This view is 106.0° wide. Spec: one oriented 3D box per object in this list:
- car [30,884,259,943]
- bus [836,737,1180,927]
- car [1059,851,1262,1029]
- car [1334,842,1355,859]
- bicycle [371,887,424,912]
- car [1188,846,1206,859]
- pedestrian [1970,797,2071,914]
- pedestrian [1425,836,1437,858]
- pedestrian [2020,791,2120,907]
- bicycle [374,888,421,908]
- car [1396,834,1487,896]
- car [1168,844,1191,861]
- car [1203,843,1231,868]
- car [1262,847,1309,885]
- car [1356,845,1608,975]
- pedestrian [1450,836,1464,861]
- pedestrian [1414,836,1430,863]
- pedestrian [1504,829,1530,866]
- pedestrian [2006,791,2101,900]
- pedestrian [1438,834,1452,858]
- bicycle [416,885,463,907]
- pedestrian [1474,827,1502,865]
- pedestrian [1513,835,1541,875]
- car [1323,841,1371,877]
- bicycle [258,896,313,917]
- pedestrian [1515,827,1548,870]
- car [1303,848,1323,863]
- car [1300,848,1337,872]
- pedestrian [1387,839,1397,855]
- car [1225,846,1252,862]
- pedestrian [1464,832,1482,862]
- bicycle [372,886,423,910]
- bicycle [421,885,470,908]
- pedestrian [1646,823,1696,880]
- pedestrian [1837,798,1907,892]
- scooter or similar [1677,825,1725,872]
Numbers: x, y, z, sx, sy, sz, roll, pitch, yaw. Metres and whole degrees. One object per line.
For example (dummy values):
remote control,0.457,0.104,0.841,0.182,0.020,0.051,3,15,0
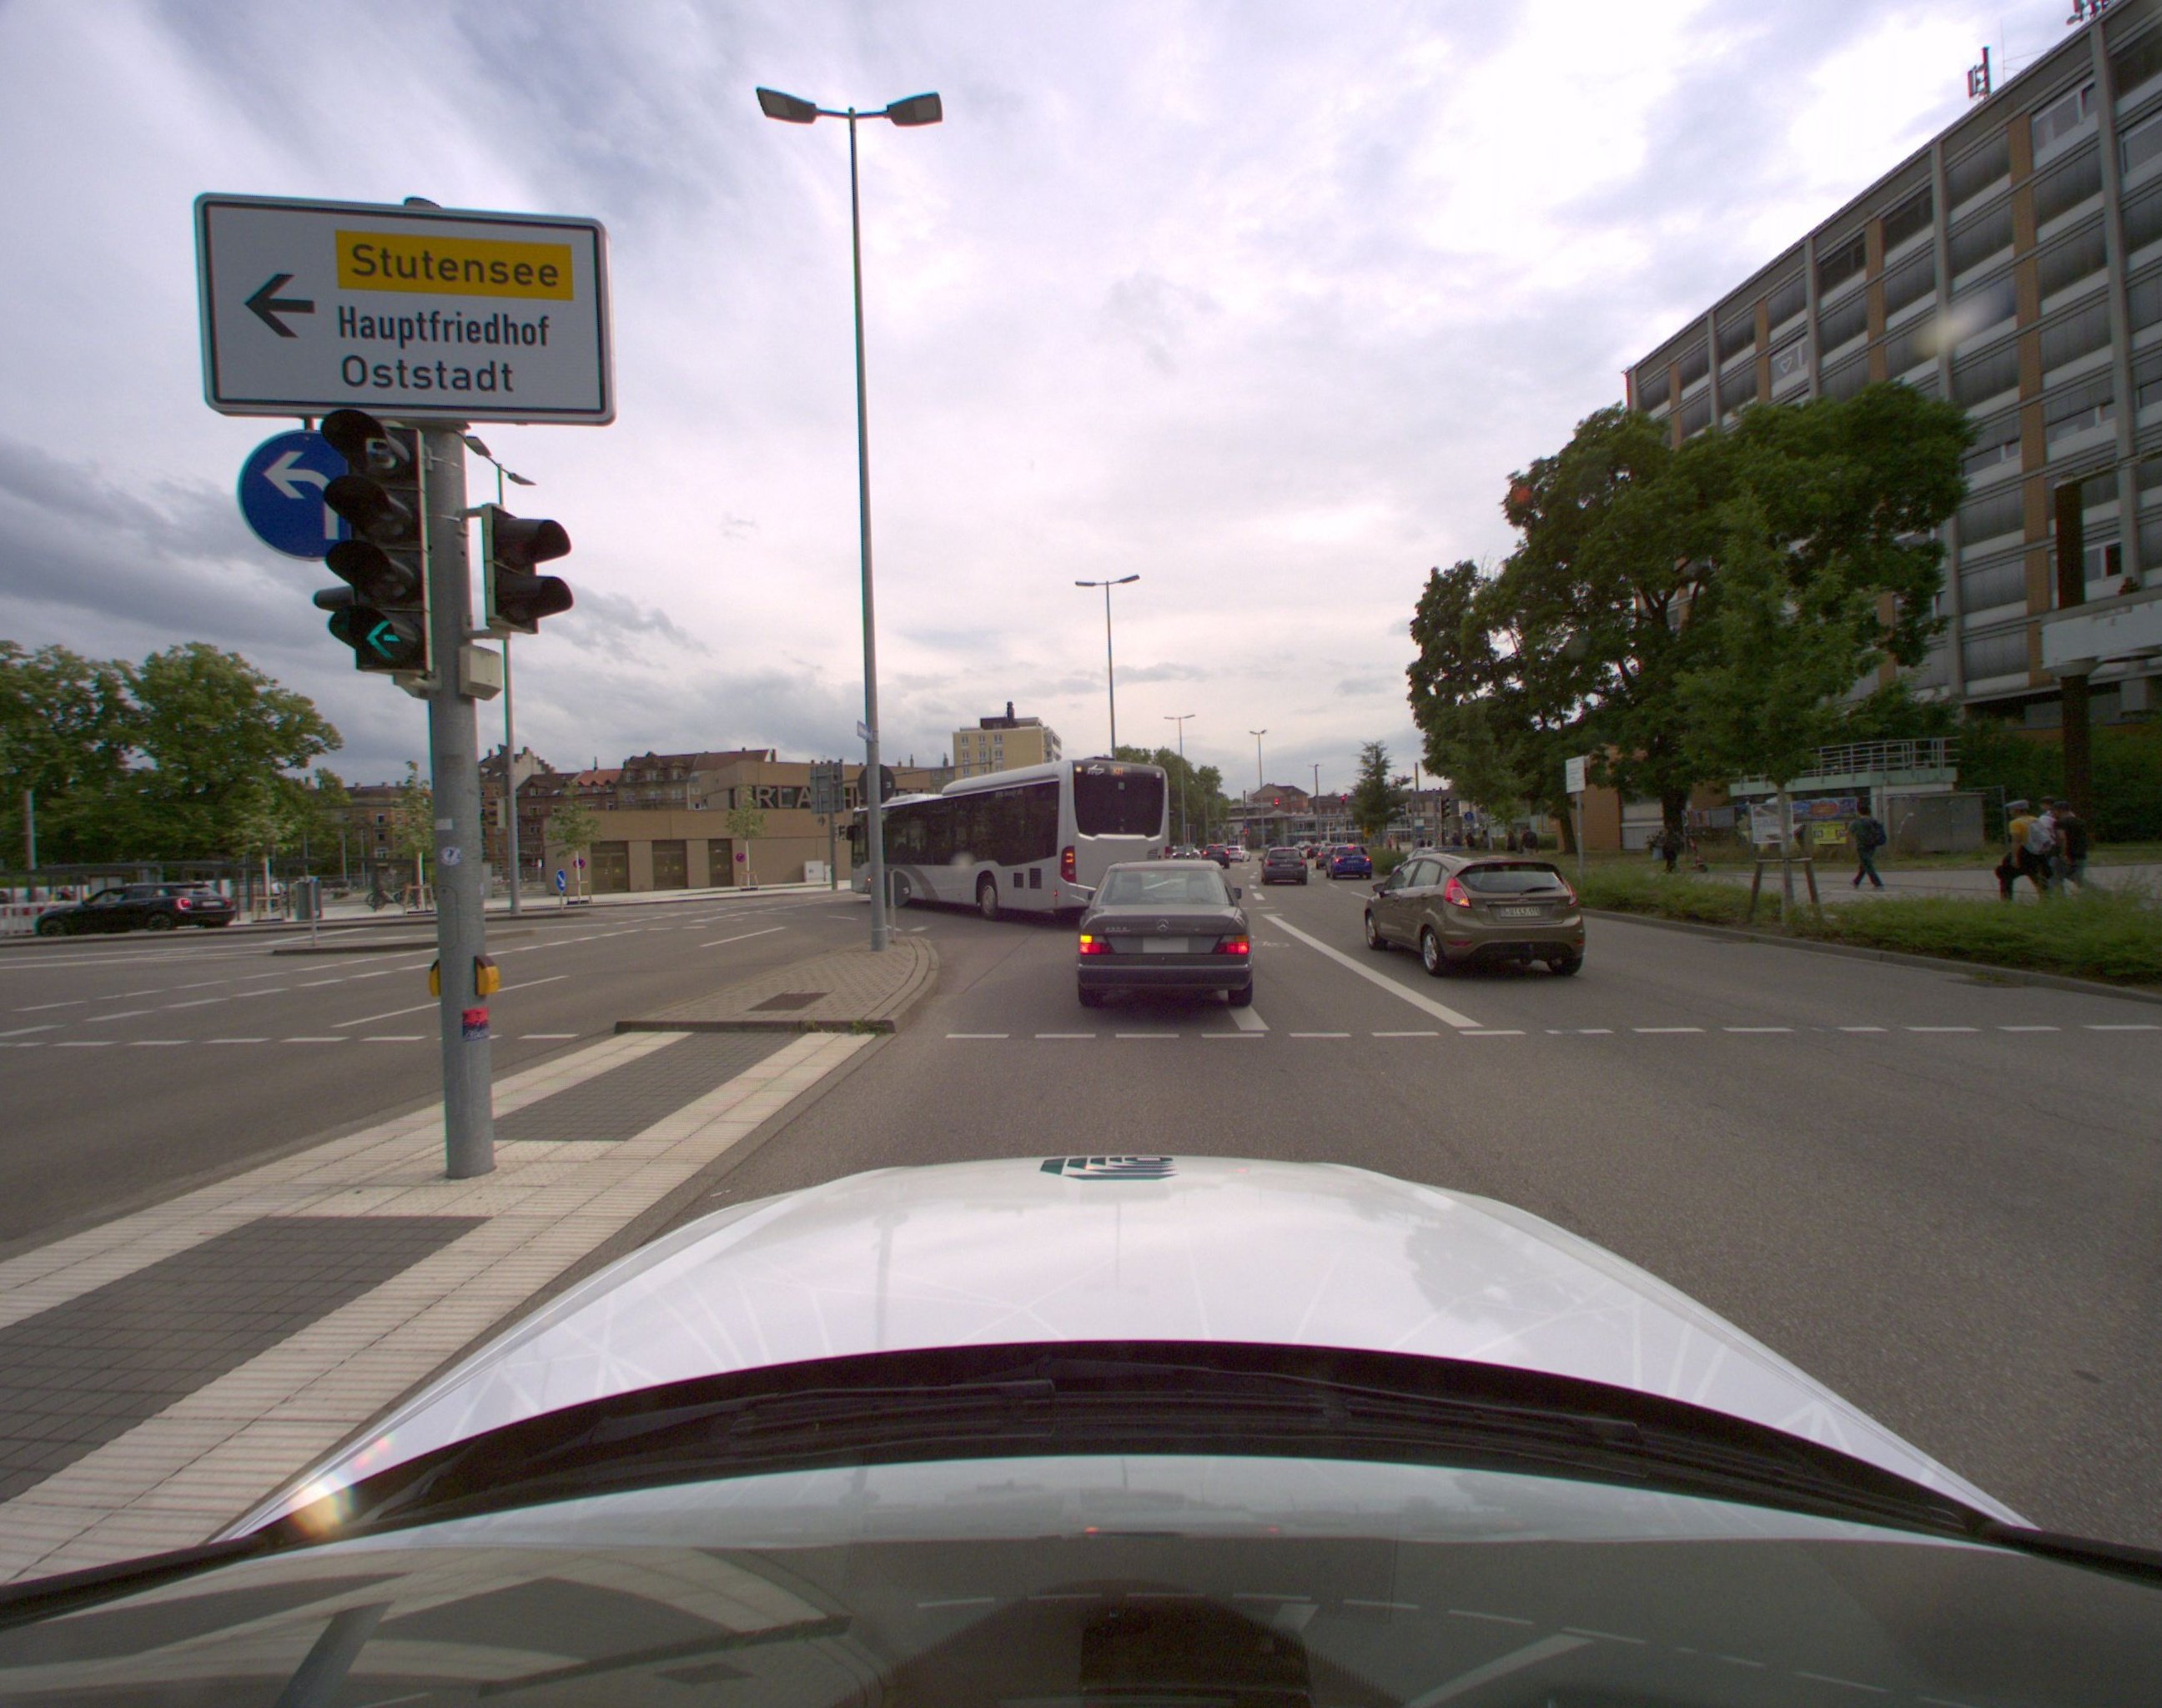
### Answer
car,-26.526,1.653,23.213,3.980,1.486,1.997,0,0,-5
bus,-3.020,-0.209,21.389,2.724,3.438,14.037,-3,0,-32
car,0.979,0.732,9.058,1.685,1.480,4.426,-1,0,8
car,22.576,-0.295,69.839,1.690,1.420,3.717,-1,0,18
bicycle,-34.011,2.260,40.554,0.576,1.156,1.978,-1,-1,41
car,15.205,-0.214,106.635,1.980,1.651,4.527,-1,0,12
pedestrian,14.403,0.019,12.501,0.636,1.711,0.708,-3,-1,1
pedestrian,26.520,-0.517,61.714,0.771,1.574,0.817,-4,-1,24
pedestrian,15.098,-0.071,12.452,0.635,1.711,0.708,0,-1,1
bicycle,-37.385,2.407,44.560,1.977,0.970,0.577,0,-1,-43
car,9.606,0.286,21.944,1.654,1.508,3.648,-1,0,14
car,10.116,-0.168,83.329,1.980,1.651,4.527,-1,0,12
car,9.294,0.102,55.670,1.823,1.615,3.556,-1,0,10
car,8.233,0.459,32.830,1.698,1.420,4.015,-1,0,14
car,4.958,0.618,10.669,1.687,1.405,3.704,-1,0,4
pedestrian,24.329,-0.369,52.707,0.771,1.574,0.817,-4,-1,24
pedestrian,20.689,-0.302,49.374,0.771,1.574,0.817,-4,-1,24
pedestrian,20.055,-0.296,37.477,0.775,1.711,0.812,0,-1,1
pedestrian,15.970,-0.136,13.387,0.635,1.711,0.708,-2,-1,1
pedestrian,24.493,-0.553,54.809,0.771,1.574,0.817,-4,-1,24
bicycle,-35.294,2.297,44.840,0.576,1.156,1.978,-1,-1,41
pedestrian,18.652,-0.351,37.338,0.775,1.711,1.028,0,-1,1
pedestrian,19.557,0.058,35.732,0.775,1.711,0.812,0,-1,1
car,11.869,0.233,36.537,1.844,1.533,4.018,-1,0,15
bicycle,-39.699,2.612,40.669,1.977,0.955,0.577,0,-1,-43
pedestrian,17.965,-0.217,32.487,0.775,1.711,1.028,0,-1,1
car,22.618,0.180,79.197,1.697,1.420,4.018,-1,0,18
car,15.089,0.364,51.624,2.115,1.420,3.717,-1,0,18
pedestrian,31.334,-0.745,82.067,0.771,1.574,0.817,-4,-1,24
car,14.003,0.017,72.407,1.696,1.420,4.020,-1,0,21
pedestrian,21.391,-0.365,44.459,0.771,1.574,0.817,-4,-1,24
bicycle,-35.784,2.289,42.662,0.576,1.156,1.978,-1,-1,41
bicycle,-34.225,2.282,43.876,0.576,1.156,1.978,-1,-1,41
pedestrian,17.158,-0.077,23.718,0.775,1.574,0.812,-4,-1,1
pedestrian,16.184,-0.176,16.679,0.636,1.852,0.708,-3,-1,1
scooter or similar,18.471,-0.149,24.288,0.398,1.370,1.143,0,-1,-12
